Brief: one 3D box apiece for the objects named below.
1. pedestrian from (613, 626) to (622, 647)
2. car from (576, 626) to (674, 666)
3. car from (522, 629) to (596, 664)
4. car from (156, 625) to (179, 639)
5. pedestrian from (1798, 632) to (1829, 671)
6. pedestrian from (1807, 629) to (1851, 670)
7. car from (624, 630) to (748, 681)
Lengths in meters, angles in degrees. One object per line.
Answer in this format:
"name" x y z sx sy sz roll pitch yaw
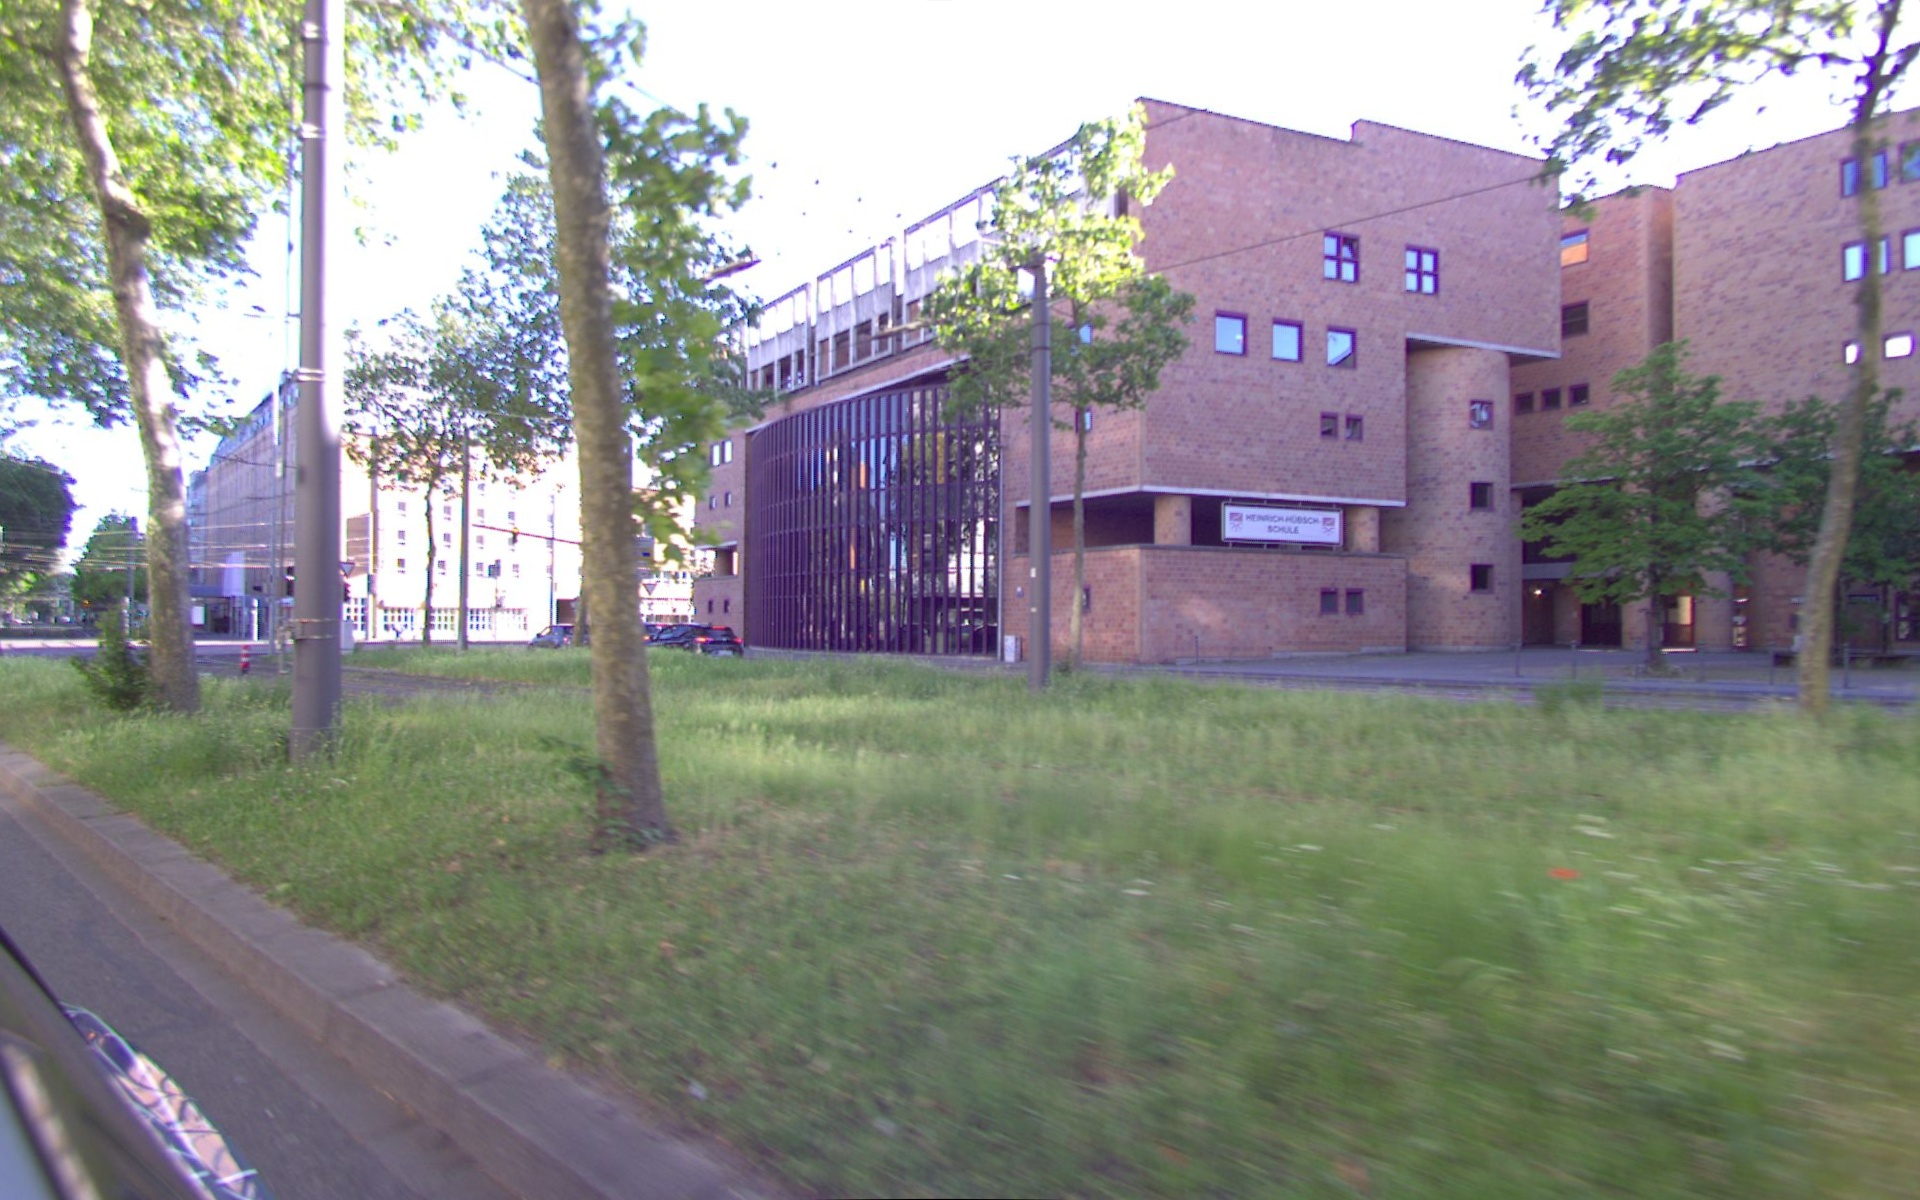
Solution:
"pedestrian" -25.762 2.753 76.158 0.558 1.516 0.513 1 -4 -26
"car" -12.763 1.708 38.453 4.147 1.440 1.653 -2 -2 41
"car" -16.996 1.938 42.828 3.219 1.440 1.596 -2 -2 41
"car" -97.261 3.930 124.224 4.002 1.663 1.680 -2 -2 45
"pedestrian" 26.904 1.607 31.901 0.628 1.207 0.659 -1 -2 32
"pedestrian" 26.564 1.504 30.956 0.654 1.260 0.759 0 -2 -16
"car" -8.361 1.644 30.704 4.147 1.440 1.596 -2 -2 41
